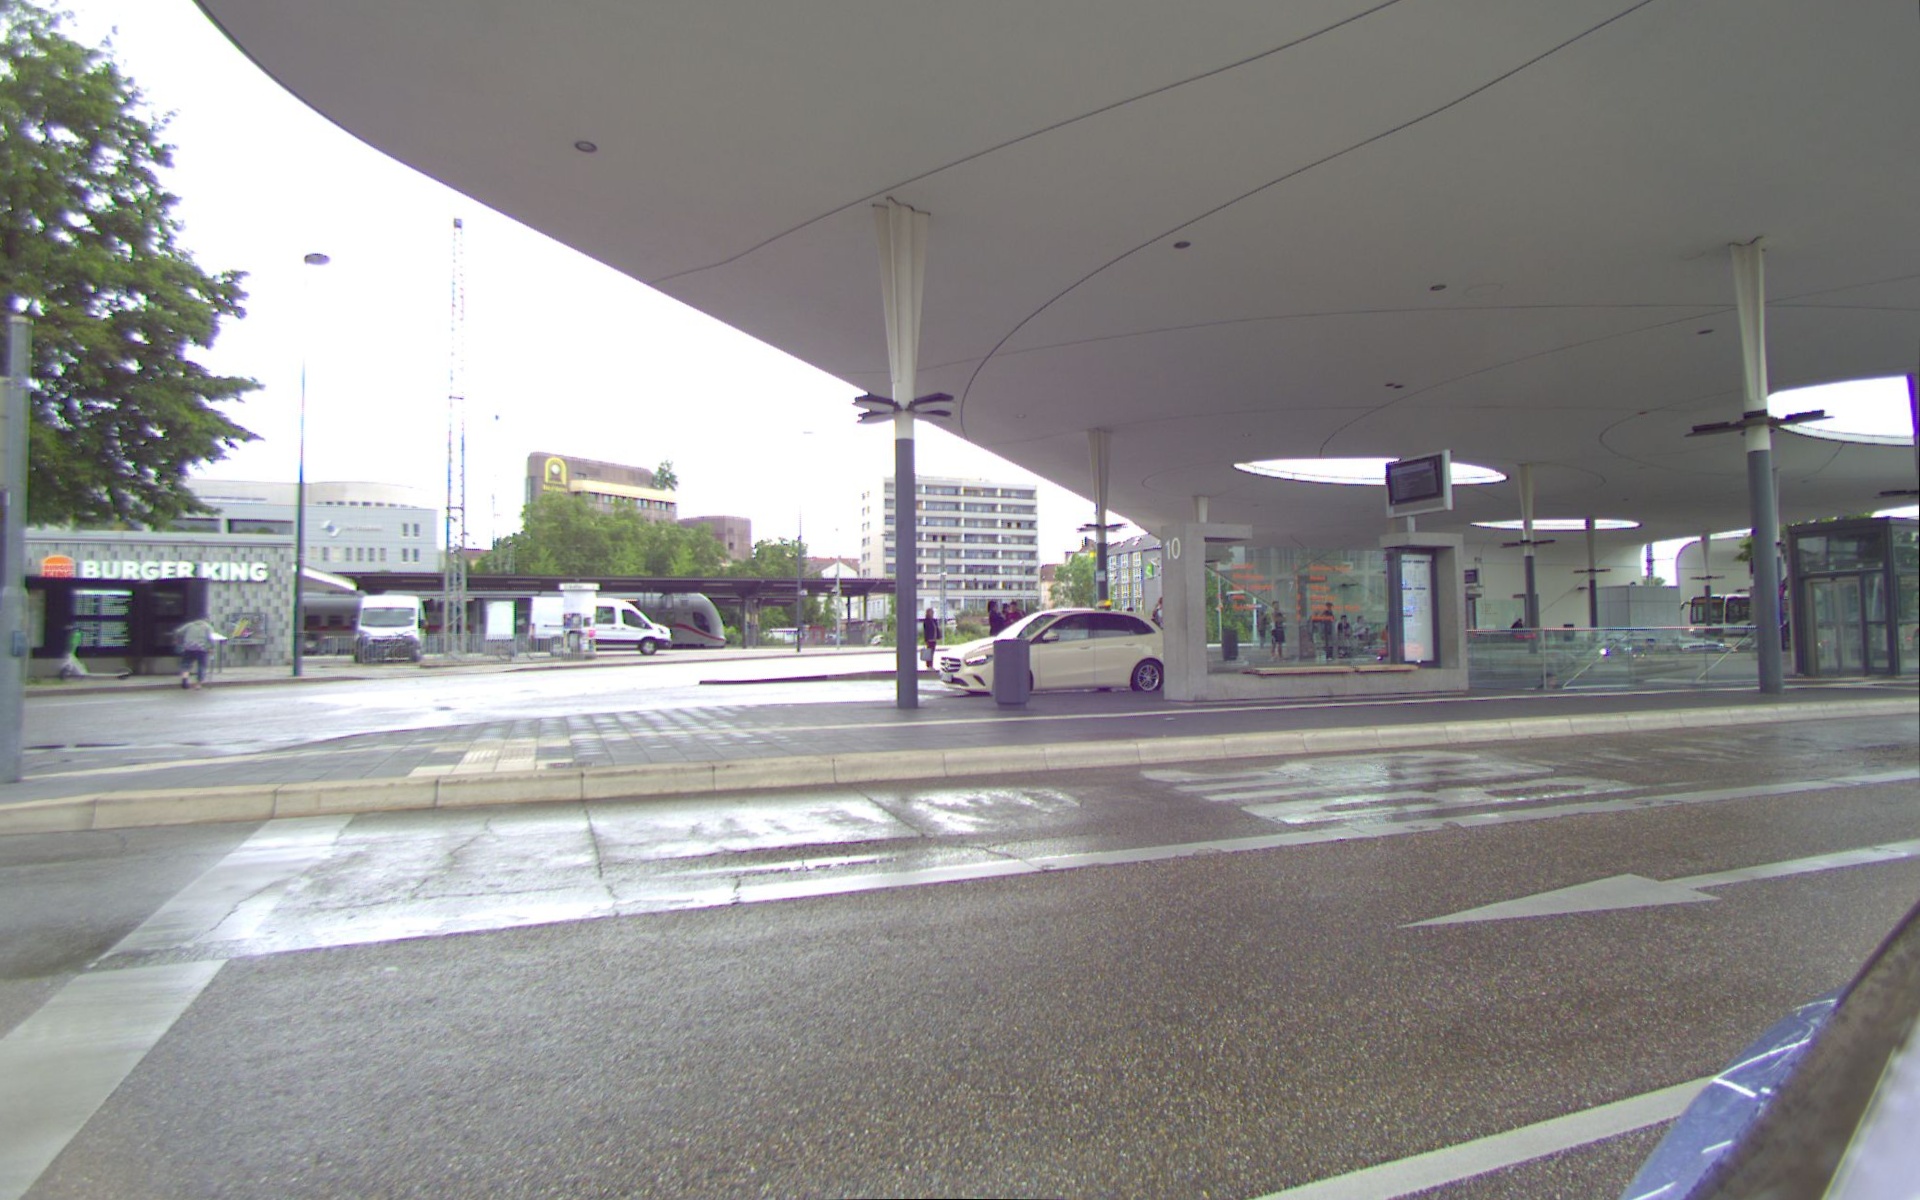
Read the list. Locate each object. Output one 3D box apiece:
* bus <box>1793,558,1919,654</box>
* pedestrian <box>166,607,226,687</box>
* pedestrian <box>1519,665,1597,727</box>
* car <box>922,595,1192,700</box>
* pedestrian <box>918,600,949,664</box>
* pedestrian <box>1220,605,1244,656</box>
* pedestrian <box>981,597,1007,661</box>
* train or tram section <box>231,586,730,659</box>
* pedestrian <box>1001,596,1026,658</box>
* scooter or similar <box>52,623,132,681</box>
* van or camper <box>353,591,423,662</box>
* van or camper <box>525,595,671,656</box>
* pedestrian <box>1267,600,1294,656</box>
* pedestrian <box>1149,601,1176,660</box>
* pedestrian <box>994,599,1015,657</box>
[{"bbox_3d":[35.366,0.158,36.526,11.672,3.121,2.884,0,0,-22],"label":"bus"},{"bbox_3d":[-15.197,0.912,20.147,0.634,1.549,0.828,0,0,39],"label":"pedestrian"},{"bbox_3d":[11.553,1.839,19.563,0.938,1.068,0.885,0,0,-18],"label":"pedestrian"},{"bbox_3d":[1.741,0.777,18.363,4.446,1.702,2.004,0,0,-22],"label":"car"},{"bbox_3d":[-0.698,0.812,26.138,0.726,1.615,0.643,0,0,-7],"label":"pedestrian"},{"bbox_3d":[8.200,0.921,30.539,0.514,1.533,0.480,0,-1,-18],"label":"pedestrian"},{"bbox_3d":[0.826,0.705,24.570,0.469,1.533,0.536,0,-1,-17],"label":"pedestrian"},{"bbox_3d":[-29.960,1.228,66.401,28.694,4.235,4.615,0,0,-22],"label":"train or tram section"},{"bbox_3d":[1.328,0.664,25.204,0.469,1.533,0.536,0,-1,-17],"label":"pedestrian"},{"bbox_3d":[-19.017,1.114,22.185,0.331,1.197,1.288,0,0,35],"label":"scooter or similar"},{"bbox_3d":[-21.497,0.894,38.216,2.121,2.464,5.872,0,0,-28],"label":"van or camper"},{"bbox_3d":[-15.430,1.018,43.286,5.741,2.464,2.004,0,0,-22],"label":"van or camper"},{"bbox_3d":[8.917,0.768,28.138,0.524,1.533,0.480,0,-1,-18],"label":"pedestrian"},{"bbox_3d":[5.344,0.793,26.670,0.524,1.533,0.480,0,-1,-18],"label":"pedestrian"},{"bbox_3d":[1.188,0.745,27.189,0.472,1.533,0.533,0,-1,13],"label":"pedestrian"}]
